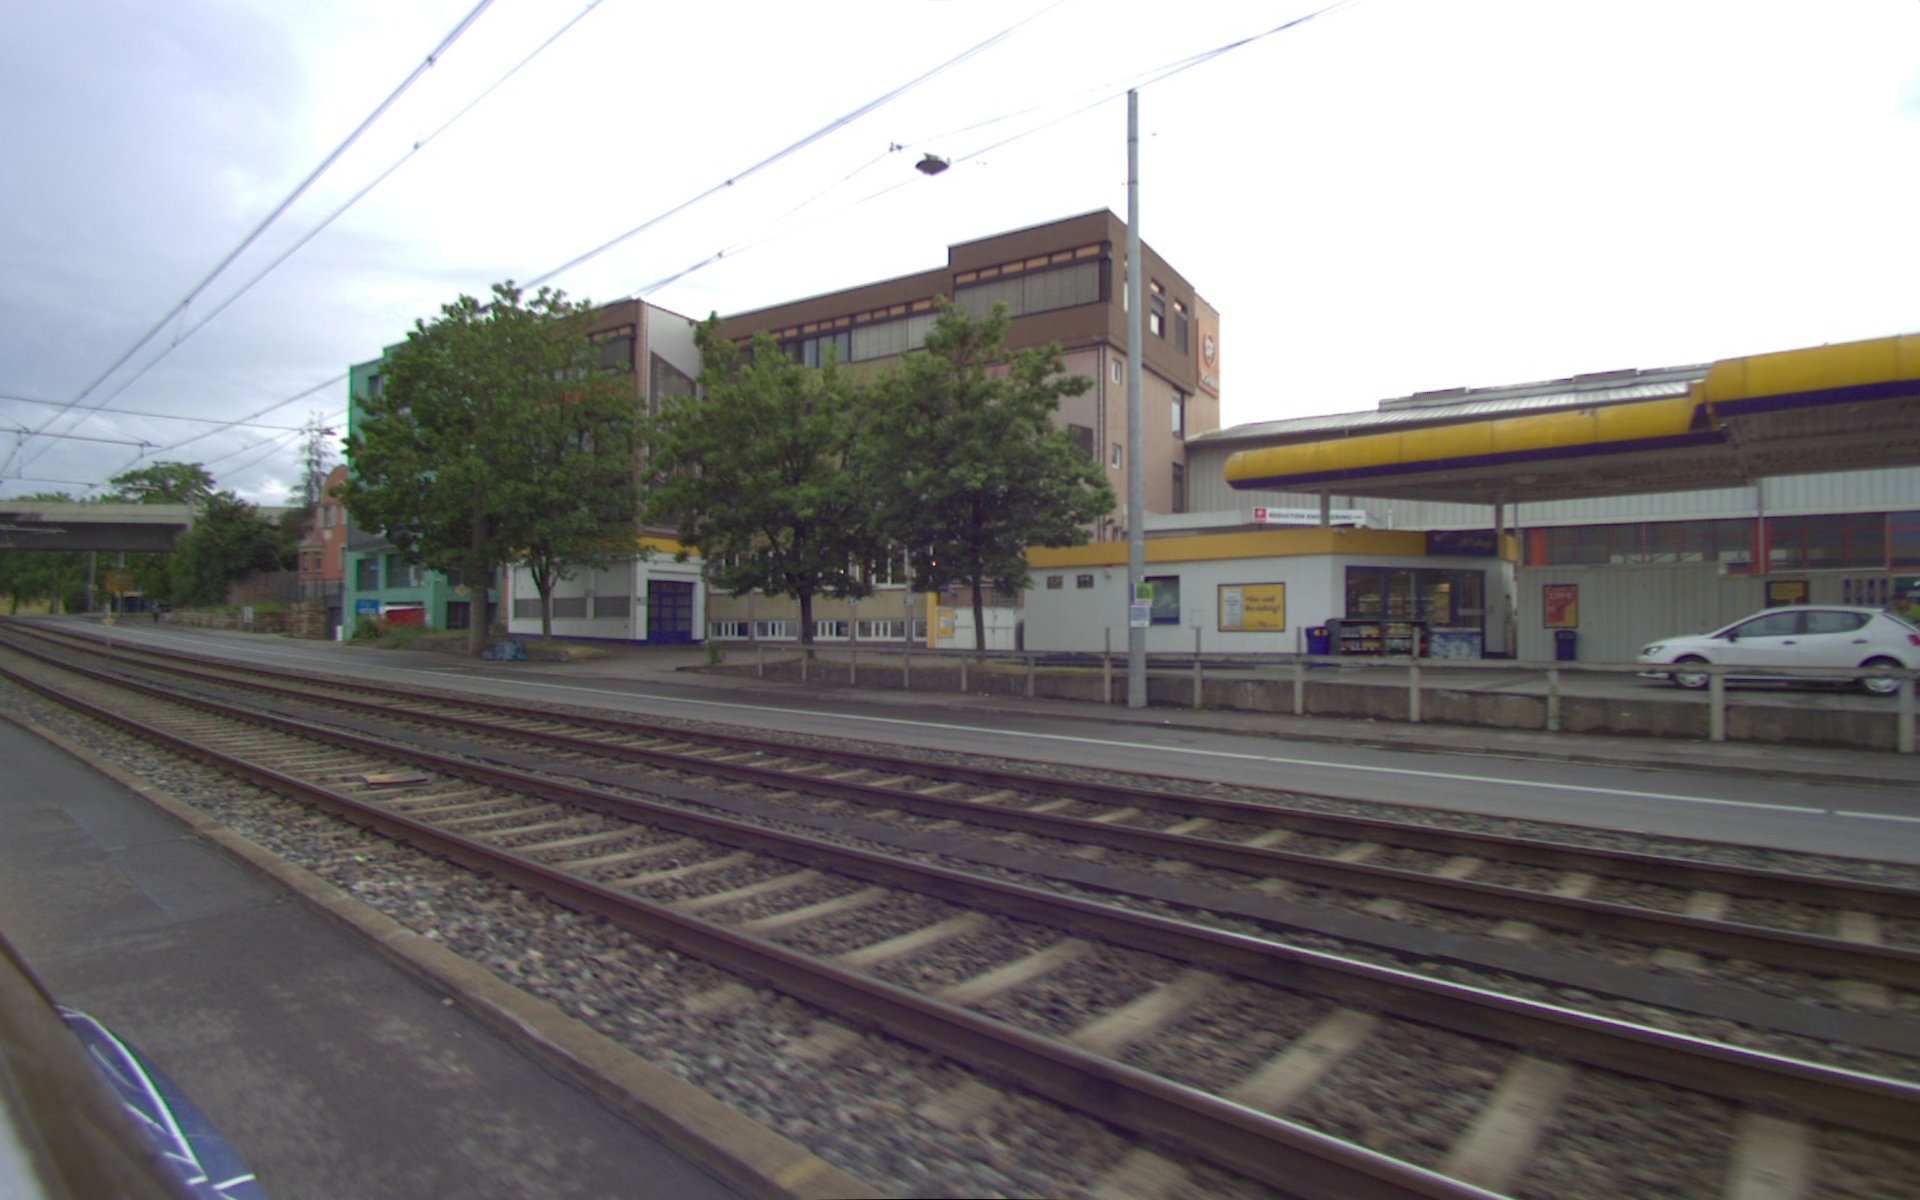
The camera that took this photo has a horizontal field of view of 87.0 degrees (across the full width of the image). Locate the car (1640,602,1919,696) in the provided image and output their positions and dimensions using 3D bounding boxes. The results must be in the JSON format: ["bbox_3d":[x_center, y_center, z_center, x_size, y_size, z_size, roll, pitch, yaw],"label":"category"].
[{"bbox_3d":[13.980,0.774,17.028,4.071,1.426,1.753,-1,-1,39],"label":"car"}]

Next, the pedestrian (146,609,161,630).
[{"bbox_3d":[-64.862,1.573,81.398,1.021,1.657,0.737,-1,-3,43],"label":"pedestrian"}]
